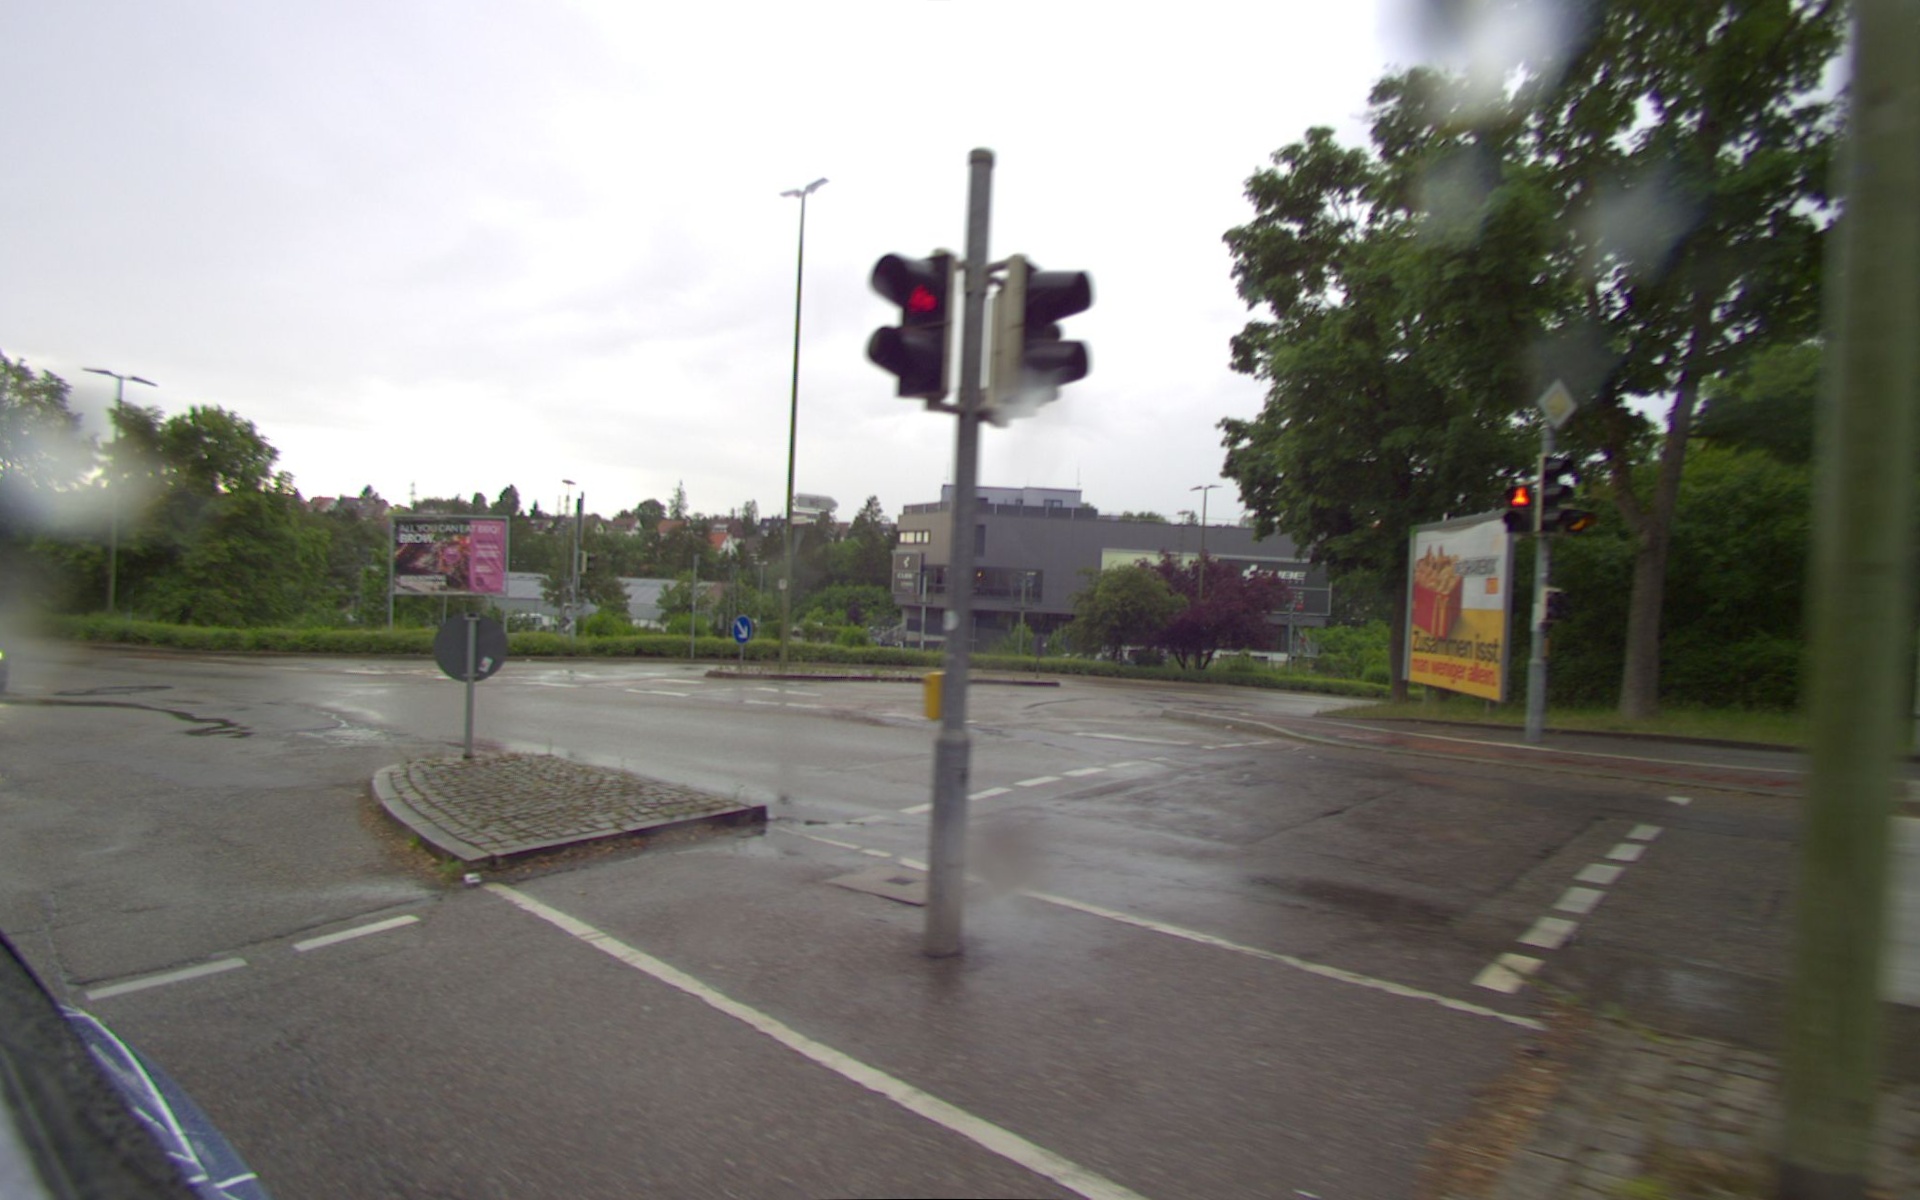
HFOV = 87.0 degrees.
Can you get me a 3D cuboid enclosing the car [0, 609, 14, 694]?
[{"bbox_3d":[-18.183,0.835,17.458,3.987,1.406,1.741,1,0,32],"label":"car"}]
